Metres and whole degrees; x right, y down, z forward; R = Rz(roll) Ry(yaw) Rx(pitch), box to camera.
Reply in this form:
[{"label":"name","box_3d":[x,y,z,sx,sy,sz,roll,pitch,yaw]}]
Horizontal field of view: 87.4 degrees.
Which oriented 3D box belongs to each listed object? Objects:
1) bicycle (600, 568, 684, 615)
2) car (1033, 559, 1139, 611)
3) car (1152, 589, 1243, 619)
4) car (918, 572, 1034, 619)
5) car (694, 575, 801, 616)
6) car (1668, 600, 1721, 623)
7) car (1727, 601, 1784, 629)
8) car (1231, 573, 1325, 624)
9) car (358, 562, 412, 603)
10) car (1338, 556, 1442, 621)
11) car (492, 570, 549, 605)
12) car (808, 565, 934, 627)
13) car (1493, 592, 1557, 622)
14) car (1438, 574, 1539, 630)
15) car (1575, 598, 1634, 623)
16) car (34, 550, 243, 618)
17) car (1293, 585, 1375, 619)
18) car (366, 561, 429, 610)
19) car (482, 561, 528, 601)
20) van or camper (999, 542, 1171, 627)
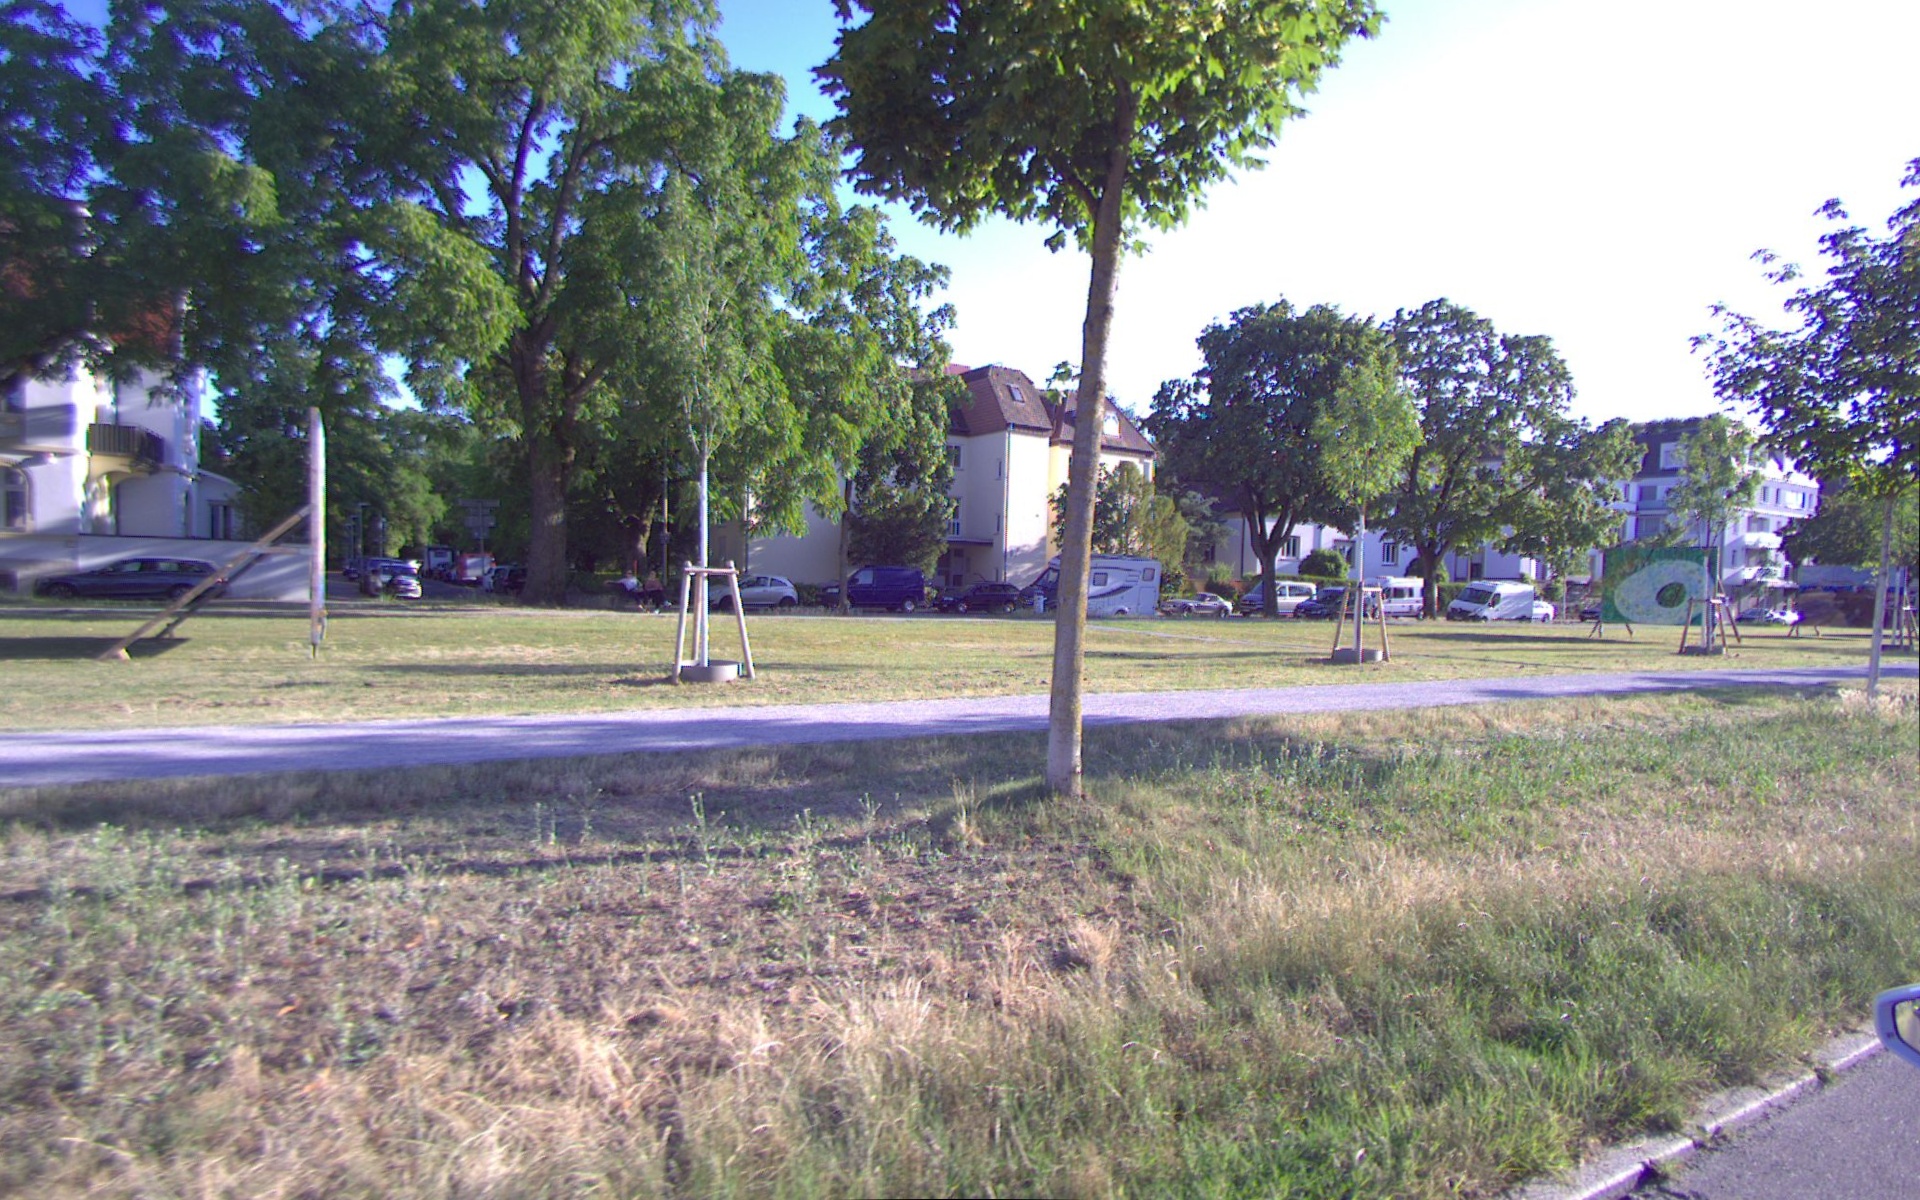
[{"label":"bicycle","box_3d":[-9.327,-0.244,29.519,2.300,1.360,0.509,1,2,-27]},{"label":"car","box_3d":[5.210,-0.606,41.623,3.952,2.041,1.984,0,2,-30]},{"label":"car","box_3d":[12.547,0.241,53.139,4.502,1.421,1.987,2,-3,-27]},{"label":"car","box_3d":[0.746,-0.195,46.123,4.989,2.031,1.960,1,2,-30]},{"label":"car","box_3d":[-8.571,-0.166,40.539,3.767,1.563,1.982,1,2,-32]},{"label":"car","box_3d":[59.127,0.954,80.877,4.406,1.767,1.813,2,-3,-29]},{"label":"car","box_3d":[58.200,1.102,73.484,4.277,1.941,1.881,2,-3,-30]},{"label":"car","box_3d":[17.755,-0.027,55.997,5.267,2.638,2.124,2,-3,-32]},{"label":"car","box_3d":[-26.870,-0.838,46.912,2.048,1.793,5.026,1,2,-30]},{"label":"car","box_3d":[26.060,-0.621,60.770,6.686,3.605,2.293,2,-3,-30]},{"label":"car","box_3d":[-22.794,-0.658,51.993,2.156,1.703,4.111,1,2,-32]},{"label":"car","box_3d":[-3.790,-0.105,43.230,5.056,2.450,1.929,2,-3,-30]},{"label":"car","box_3d":[38.477,0.485,68.414,4.659,1.878,1.722,2,-3,-31]},{"label":"car","box_3d":[29.608,0.175,56.196,5.802,2.862,2.250,2,-3,-30]},{"label":"car","box_3d":[47.207,0.791,73.592,4.613,1.725,1.773,2,-3,-31]},{"label":"car","box_3d":[-24.885,-0.457,30.669,4.657,1.938,1.881,0,2,-30]},{"label":"car","box_3d":[18.362,0.117,49.210,4.261,1.585,1.406,1,2,-32]},{"label":"car","box_3d":[-23.765,-0.649,42.347,1.961,1.925,4.483,0,2,-34]},{"label":"car","box_3d":[-25.484,-1.093,56.224,1.849,2.152,3.965,1,2,-32]},{"label":"van or camper","box_3d":[5.210,-0.606,41.623,6.821,3.306,2.629,0,2,-30]}]
